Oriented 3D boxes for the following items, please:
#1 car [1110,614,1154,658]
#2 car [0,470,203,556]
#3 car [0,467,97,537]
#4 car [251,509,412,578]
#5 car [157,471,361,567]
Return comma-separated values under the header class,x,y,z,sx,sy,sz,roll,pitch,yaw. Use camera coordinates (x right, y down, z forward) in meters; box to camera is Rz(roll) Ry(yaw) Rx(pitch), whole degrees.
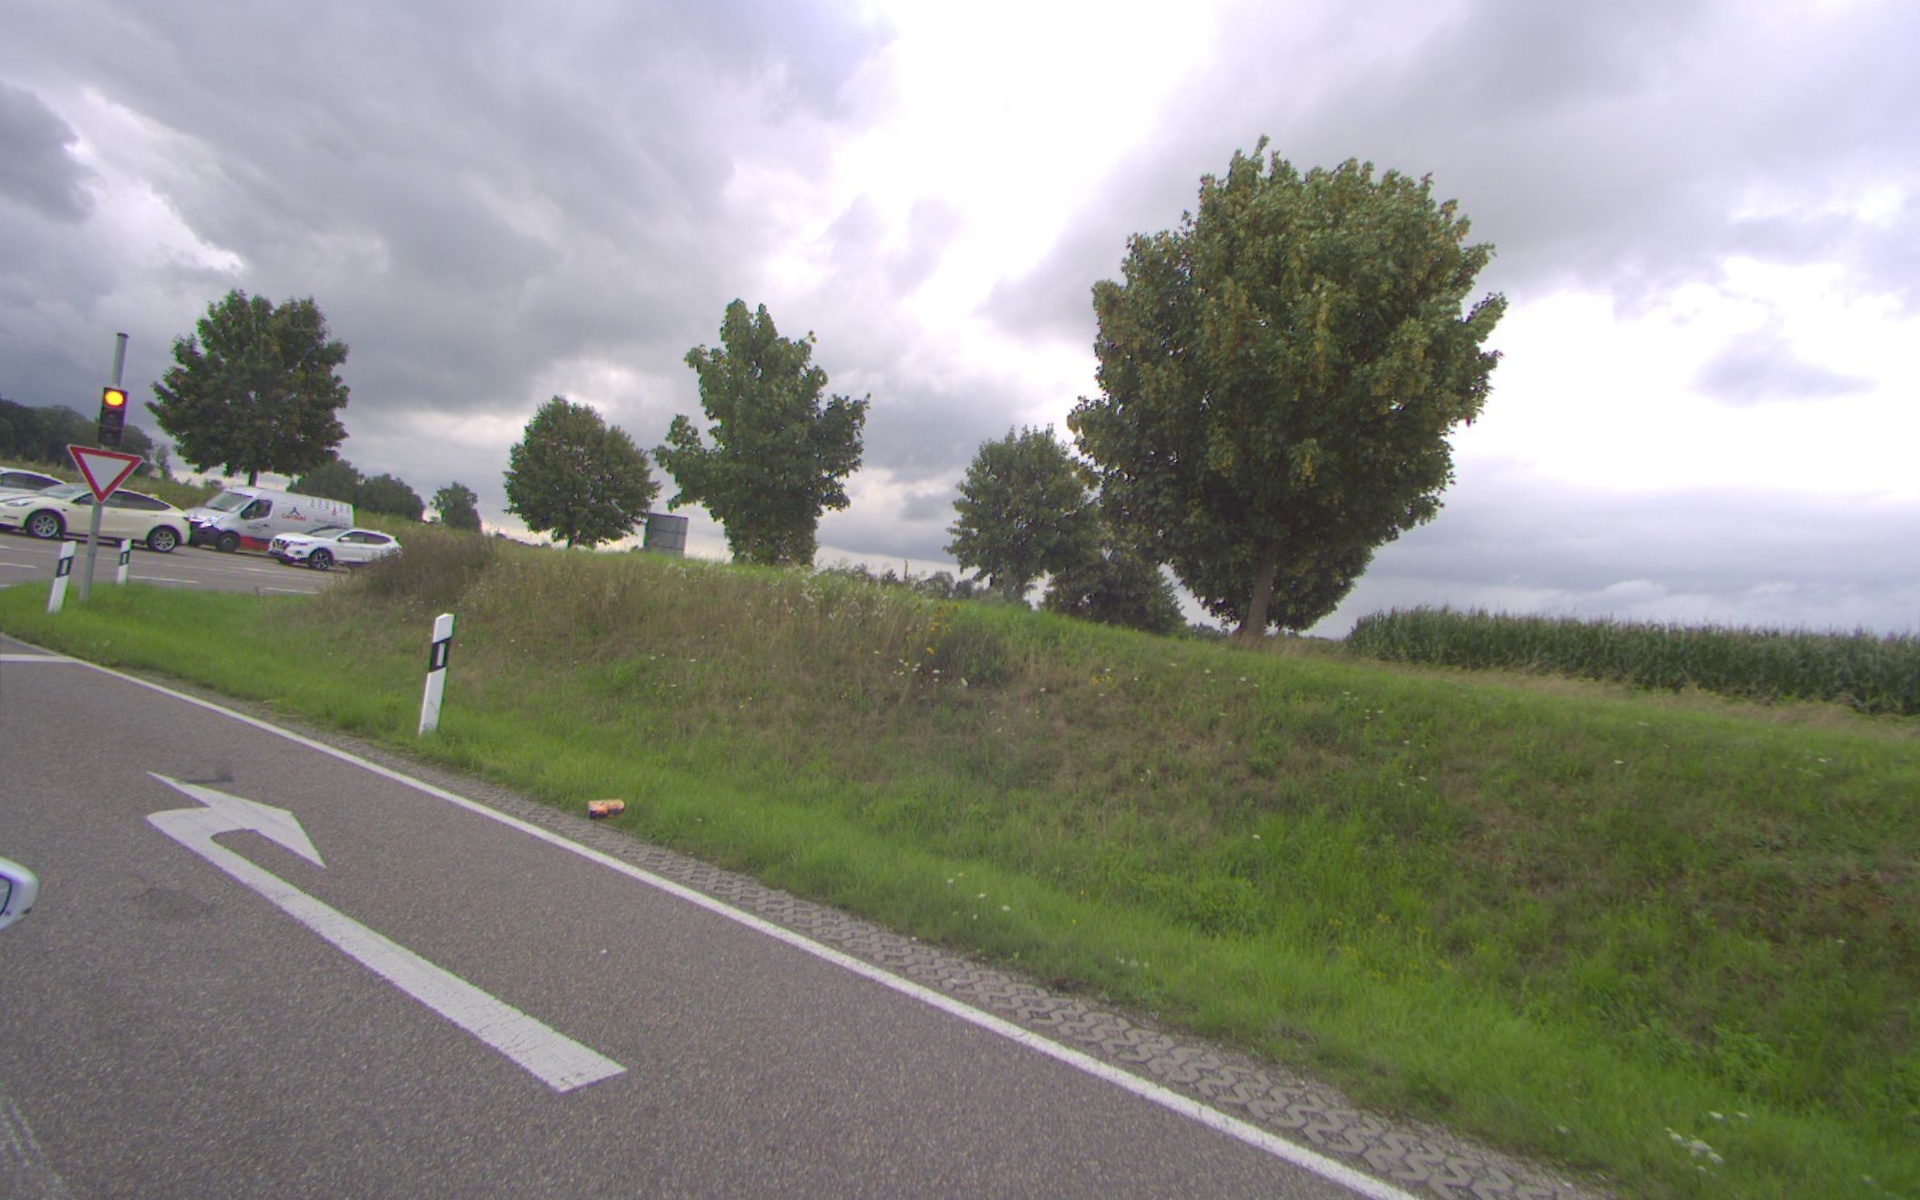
class,x,y,z,sx,sy,sz,roll,pitch,yaw
car,9.460,2.010,55.163,1.962,2.037,4.005,7,-2,12
car,-24.132,-2.395,27.779,1.963,1.582,4.752,8,-2,20
car,-27.829,-3.020,28.731,1.963,1.647,4.278,8,-2,19
car,-21.784,-1.925,35.082,1.963,1.648,4.326,8,-2,20
car,-25.344,-2.854,36.687,2.354,2.470,5.517,8,-2,20
